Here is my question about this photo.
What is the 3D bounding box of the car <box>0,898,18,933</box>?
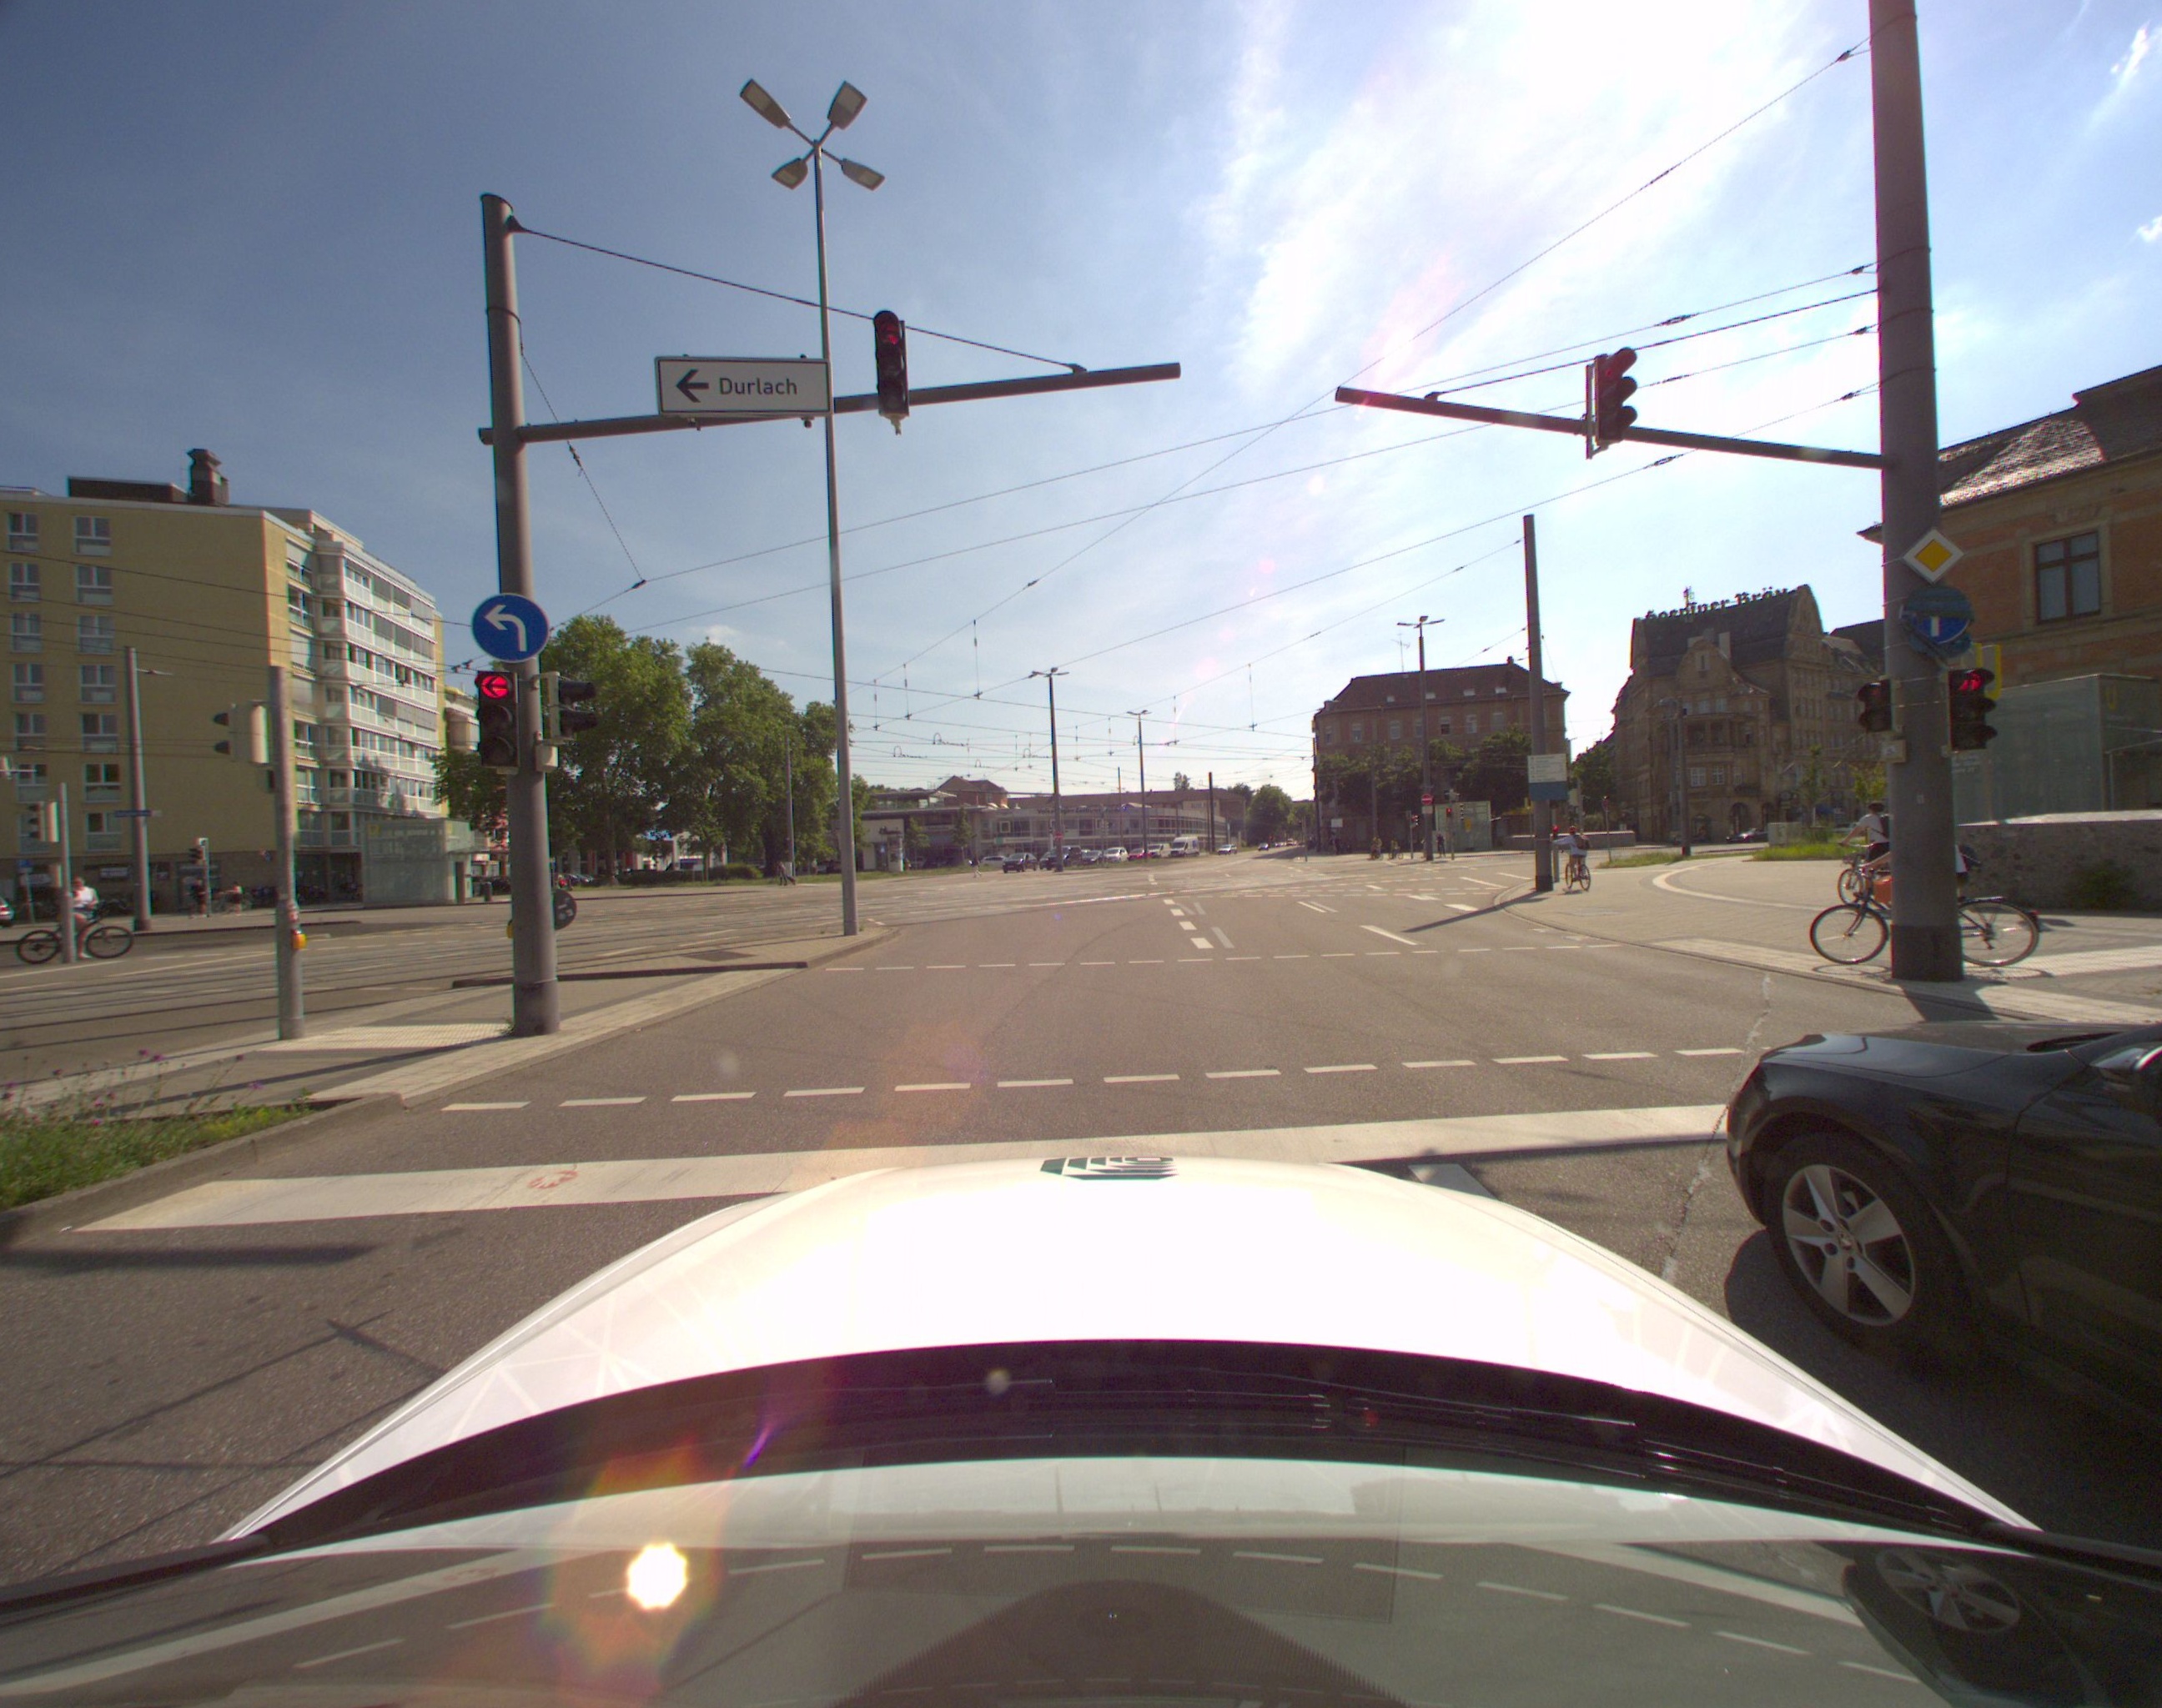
[{"bbox_3d":[-49.272,2.840,36.505,3.948,1.440,1.825,-5,-2,35],"label":"car"}]

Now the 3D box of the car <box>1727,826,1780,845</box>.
[{"bbox_3d":[57.760,-1.599,69.930,3.999,1.584,1.628,-1,0,-19],"label":"car"}]

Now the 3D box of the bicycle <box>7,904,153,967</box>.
[{"bbox_3d":[-20.921,1.693,17.054,1.843,1.083,0.749,-4,0,-9],"label":"bicycle"}]

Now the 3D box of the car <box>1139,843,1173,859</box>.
[{"bbox_3d":[8.530,-0.323,92.294,2.165,1.680,5.058,-3,0,24],"label":"car"}]

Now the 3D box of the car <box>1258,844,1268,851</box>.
[{"bbox_3d":[34.169,-1.205,152.948,1.372,1.414,3.028,-1,-1,21],"label":"car"}]

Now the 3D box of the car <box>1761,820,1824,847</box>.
[{"bbox_3d":[39.128,-1.136,44.764,3.464,1.313,1.655,-3,0,-32],"label":"car"}]

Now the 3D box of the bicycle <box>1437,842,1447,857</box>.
[{"bbox_3d":[26.976,-0.317,60.808,0.661,1.069,2.478,-1,1,24],"label":"bicycle"}]

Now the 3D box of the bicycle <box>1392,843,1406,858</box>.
[{"bbox_3d":[24.018,-0.294,61.503,0.918,1.069,2.856,-1,1,21],"label":"bicycle"}]

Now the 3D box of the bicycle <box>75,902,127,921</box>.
[{"bbox_3d":[-53.565,3.130,44.523,1.754,0.916,0.581,-3,1,-15],"label":"bicycle"}]

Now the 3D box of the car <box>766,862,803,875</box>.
[{"bbox_3d":[-38.582,1.870,105.941,3.974,1.552,2.000,-2,0,0],"label":"car"}]

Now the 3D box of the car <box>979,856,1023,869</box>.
[{"bbox_3d":[-8.634,0.926,87.770,4.550,1.436,1.450,-1,-1,15],"label":"car"}]

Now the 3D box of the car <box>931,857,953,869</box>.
[{"bbox_3d":[-17.262,1.107,100.969,1.987,1.486,4.000,0,0,0],"label":"car"}]

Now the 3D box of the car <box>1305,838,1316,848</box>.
[{"bbox_3d":[46.403,-2.184,164.403,2.092,2.013,4.017,-2,0,16],"label":"car"}]

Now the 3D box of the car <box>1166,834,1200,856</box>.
[{"bbox_3d":[12.538,-1.027,99.457,2.188,2.575,5.910,-1,-1,28],"label":"car"}]

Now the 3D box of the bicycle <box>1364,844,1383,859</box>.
[{"bbox_3d":[22.045,-0.192,61.442,0.920,1.069,2.755,-1,-1,12],"label":"bicycle"}]

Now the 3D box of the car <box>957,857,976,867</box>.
[{"bbox_3d":[-14.101,0.961,100.505,1.824,1.195,4.000,0,0,1],"label":"car"}]

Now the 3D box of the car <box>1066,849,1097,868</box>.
[{"bbox_3d":[0.079,0.448,78.294,1.638,1.739,4.220,-3,-1,19],"label":"car"}]

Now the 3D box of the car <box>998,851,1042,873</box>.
[{"bbox_3d":[-4.778,0.654,64.220,1.876,1.588,4.230,-3,-1,19],"label":"car"}]

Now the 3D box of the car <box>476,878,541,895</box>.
[{"bbox_3d":[-47.309,2.654,67.386,3.994,1.270,1.735,0,-1,-15],"label":"car"}]

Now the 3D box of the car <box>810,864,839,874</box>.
[{"bbox_3d":[-31.993,1.861,101.788,1.983,1.244,4.008,0,0,7],"label":"car"}]

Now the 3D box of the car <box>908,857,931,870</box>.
[{"bbox_3d":[-20.033,1.183,101.063,1.987,1.486,4.000,0,0,0],"label":"car"}]

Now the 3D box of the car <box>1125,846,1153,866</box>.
[{"bbox_3d":[6.138,0.222,85.374,1.879,1.917,4.220,-3,-1,19],"label":"car"}]

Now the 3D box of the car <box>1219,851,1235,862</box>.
[{"bbox_3d":[21.321,0.393,118.918,1.371,1.625,3.360,-1,-1,28],"label":"car"}]

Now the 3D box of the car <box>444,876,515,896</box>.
[{"bbox_3d":[-46.438,2.442,62.961,3.994,1.440,1.881,0,-1,-15],"label":"car"}]

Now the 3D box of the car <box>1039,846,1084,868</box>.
[{"bbox_3d":[-1.489,0.209,64.235,1.945,1.587,4.739,-2,0,19],"label":"car"}]

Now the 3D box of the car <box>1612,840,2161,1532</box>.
[{"bbox_3d":[3.040,0.671,1.040,1.625,1.435,4.779,-1,-1,0],"label":"car"}]

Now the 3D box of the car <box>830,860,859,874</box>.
[{"bbox_3d":[-29.632,1.627,102.129,1.983,1.684,4.008,0,-1,7],"label":"car"}]

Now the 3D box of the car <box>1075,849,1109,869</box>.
[{"bbox_3d":[0.992,0.459,71.296,1.880,1.588,4.017,-3,-1,16],"label":"car"}]

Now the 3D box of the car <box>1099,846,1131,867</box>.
[{"bbox_3d":[3.275,0.280,78.540,1.879,1.917,4.220,-3,-1,19],"label":"car"}]

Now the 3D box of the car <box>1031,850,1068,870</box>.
[{"bbox_3d":[-2.693,0.521,70.694,1.879,1.588,4.019,-3,-1,19],"label":"car"}]

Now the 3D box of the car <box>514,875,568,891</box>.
[{"bbox_3d":[-49.708,2.634,74.986,3.729,1.340,1.735,0,-1,-15],"label":"car"}]

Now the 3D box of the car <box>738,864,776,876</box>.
[{"bbox_3d":[-40.977,2.030,102.951,3.973,1.371,2.000,0,0,1],"label":"car"}]
